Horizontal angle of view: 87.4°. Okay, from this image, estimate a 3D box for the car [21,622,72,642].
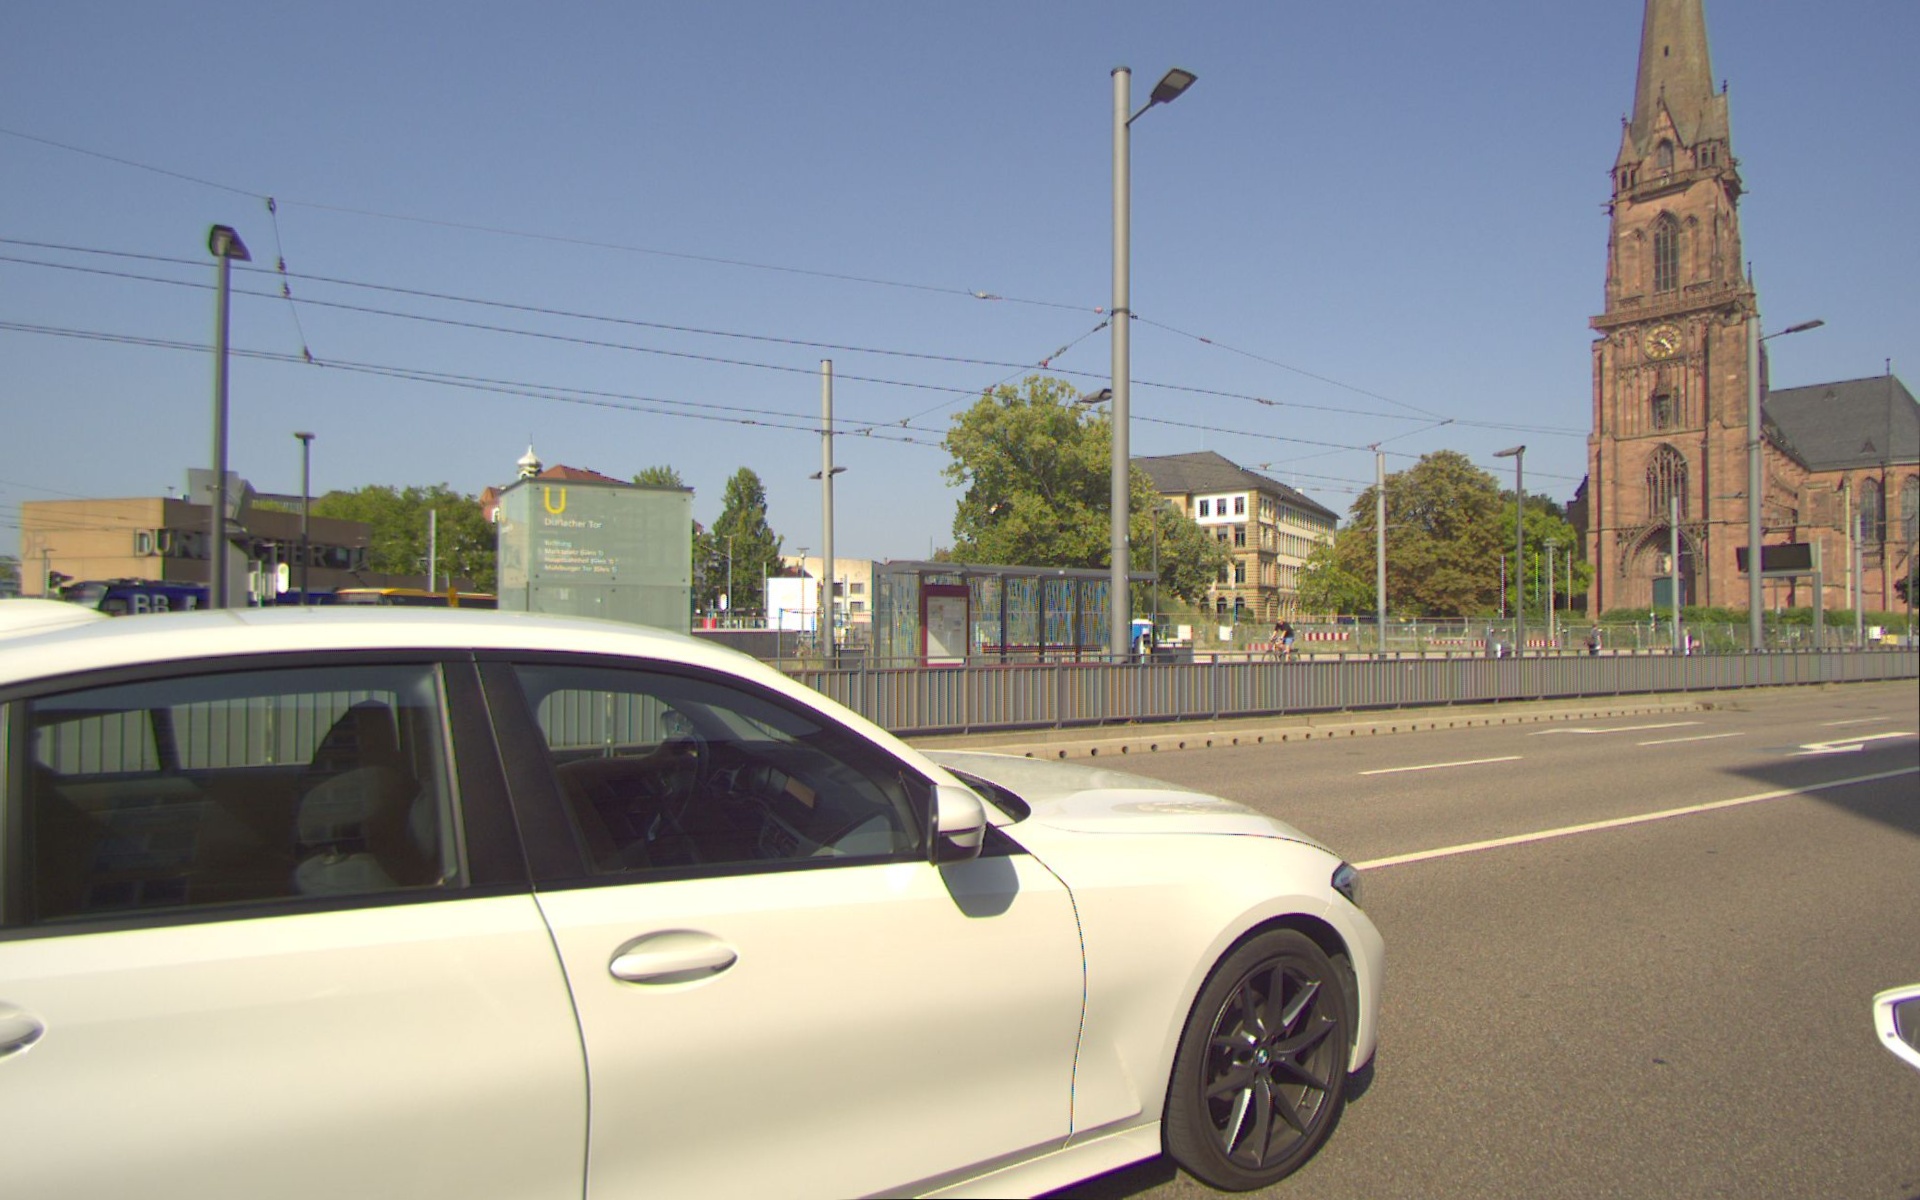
[{"bbox_3d":[-70.204,2.457,77.239,1.758,1.528,3.976,1,-2,-25],"label":"car"}]

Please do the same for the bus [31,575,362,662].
[{"bbox_3d":[-34.573,0.933,46.826,3.160,3.464,13.326,0,-2,13],"label":"bus"}]

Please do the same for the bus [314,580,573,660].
[{"bbox_3d":[-23.585,1.008,47.428,3.159,3.220,13.326,0,-2,12],"label":"bus"}]

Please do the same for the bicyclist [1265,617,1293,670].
[{"bbox_3d":[10.672,1.451,33.588,0.810,1.770,0.484,1,-2,-30],"label":"bicyclist"}]

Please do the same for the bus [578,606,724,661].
[{"bbox_3d":[-19.603,2.143,65.216,3.159,3.220,13.326,0,-2,11],"label":"bus"}]

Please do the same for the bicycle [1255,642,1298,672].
[{"bbox_3d":[10.598,1.910,33.621,1.676,0.966,0.348,1,-2,-31],"label":"bicycle"}]

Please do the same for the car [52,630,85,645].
[{"bbox_3d":[-91.374,3.838,102.995,1.473,1.470,3.503,1,-2,-25],"label":"car"}]

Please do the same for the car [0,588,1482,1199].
[{"bbox_3d":[-0.915,0.719,2.454,4.723,1.446,1.798,1,0,-33],"label":"car"}]

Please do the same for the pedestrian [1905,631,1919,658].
[{"bbox_3d":[60.798,2.804,63.797,0.593,1.701,0.915,1,-1,-22],"label":"pedestrian"}]

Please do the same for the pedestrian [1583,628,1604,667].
[{"bbox_3d":[28.274,2.124,44.833,0.657,1.723,0.514,1,-1,-32],"label":"pedestrian"}]

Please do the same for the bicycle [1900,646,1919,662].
[{"bbox_3d":[60.841,3.426,63.716,0.472,0.991,1.756,1,-2,-21],"label":"bicycle"}]
